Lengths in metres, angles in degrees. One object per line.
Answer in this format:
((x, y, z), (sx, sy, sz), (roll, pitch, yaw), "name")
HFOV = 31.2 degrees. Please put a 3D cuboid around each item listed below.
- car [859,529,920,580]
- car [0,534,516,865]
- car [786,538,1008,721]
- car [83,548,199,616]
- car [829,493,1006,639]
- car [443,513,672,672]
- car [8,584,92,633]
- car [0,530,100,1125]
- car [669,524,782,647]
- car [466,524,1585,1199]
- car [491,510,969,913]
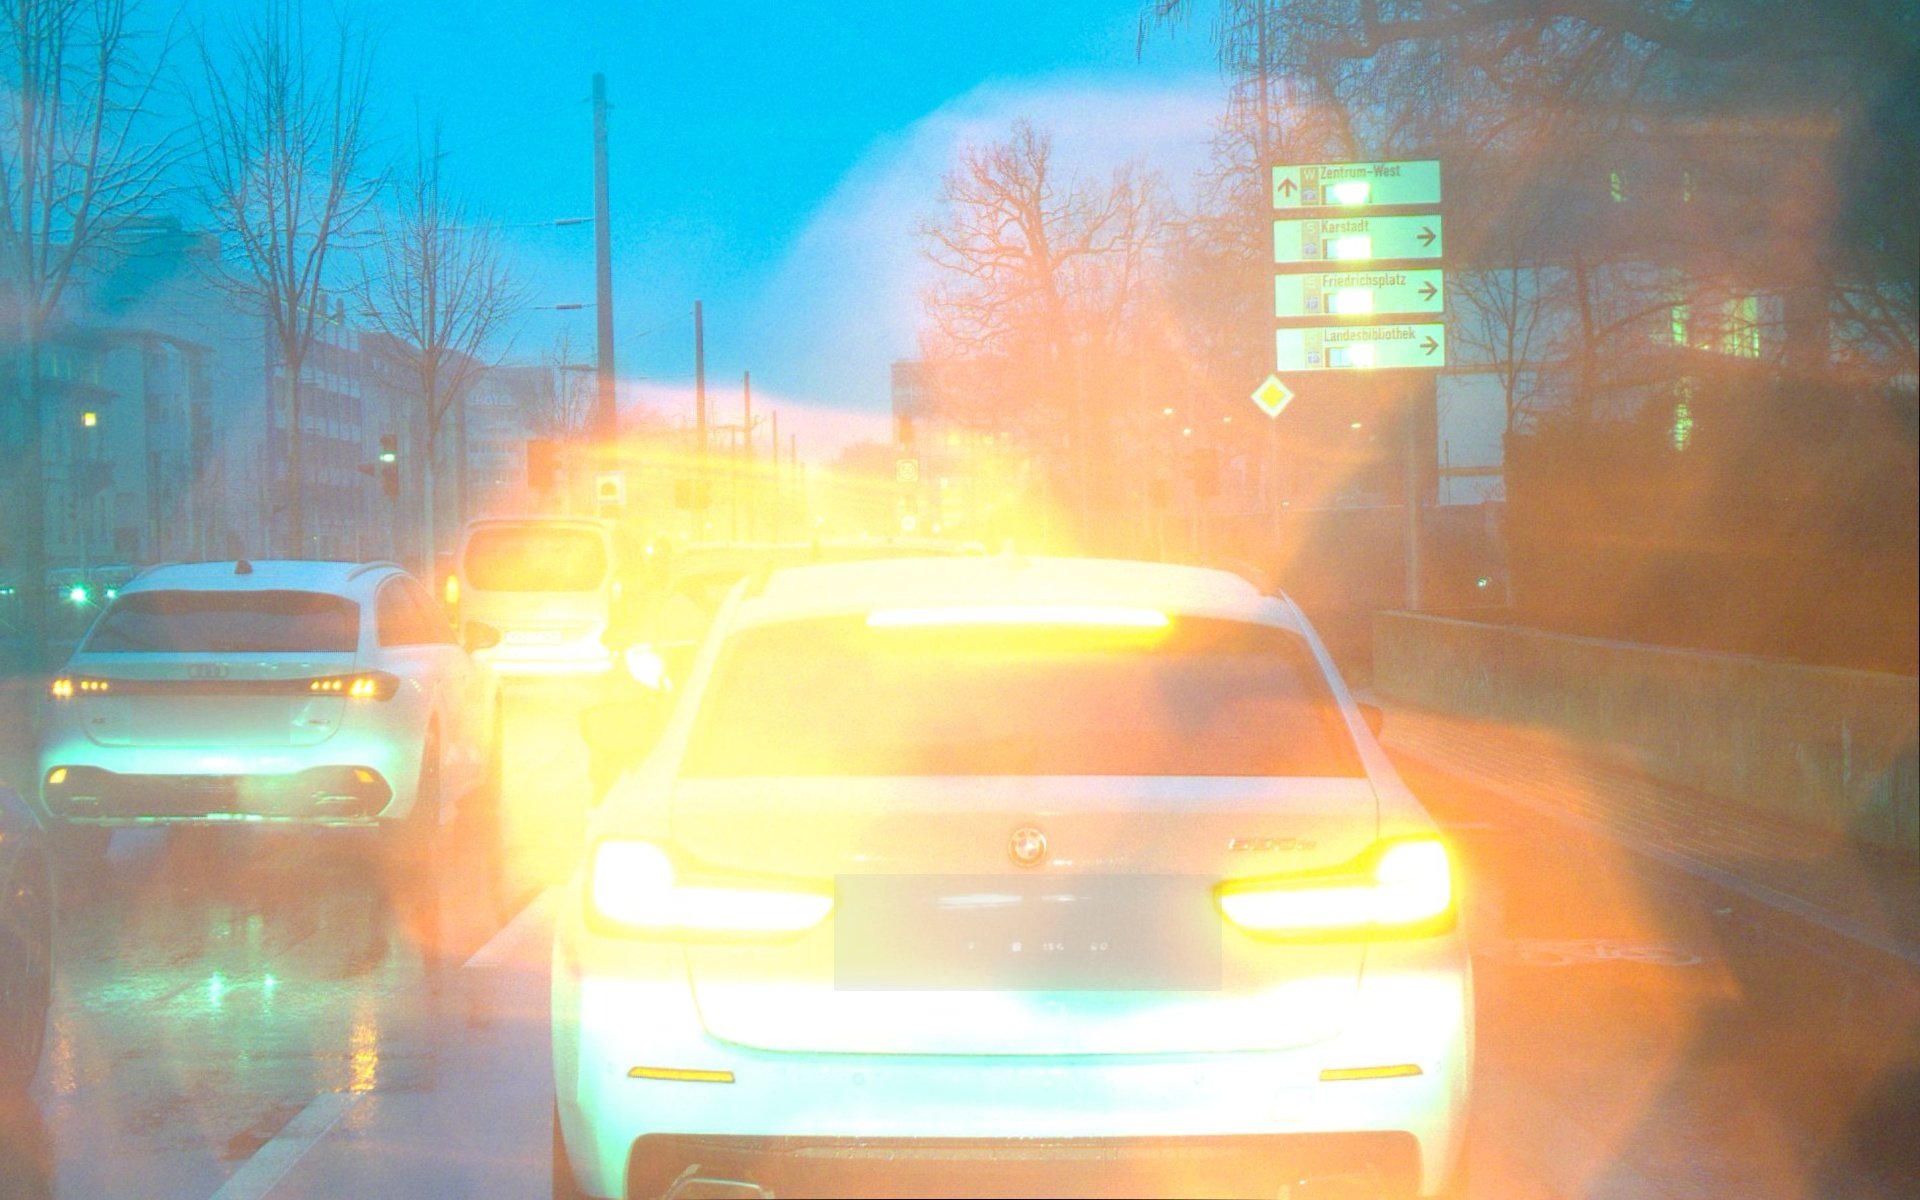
((-2.085, -1.362, 101.912), (1.737, 1.415, 4.146), (-1, 1, -1), "car")
((-3.502, 0.410, 17.939), (1.799, 1.461, 4.586), (-1, 1, -1), "car")
((-0.523, 0.200, 29.251), (1.737, 1.415, 3.703), (-1, 1, -1), "car")
((-20.118, -0.453, 84.569), (1.993, 1.597, 4.000), (1, 1, -2), "car")
((-0.441, -0.373, 36.172), (1.737, 1.415, 3.703), (-1, 1, -1), "car")
((-3.852, -0.112, 33.563), (1.737, 1.415, 4.394), (-1, 1, -1), "car")
((-25.385, 0.225, 96.034), (1.690, 1.273, 4.149), (-1, 1, -7), "car")
((-3.291, 0.600, 7.940), (1.693, 1.528, 4.000), (0, 1, -1), "car")
((-3.267, -0.215, 47.962), (1.505, 1.647, 2.845), (1, 1, -4), "car")
((0.090, 0.620, 8.266), (1.862, 1.550, 4.938), (-1, 1, -1), "car")
((-0.897, 0.399, 15.060), (1.800, 1.505, 3.895), (-1, 1, -1), "car")
